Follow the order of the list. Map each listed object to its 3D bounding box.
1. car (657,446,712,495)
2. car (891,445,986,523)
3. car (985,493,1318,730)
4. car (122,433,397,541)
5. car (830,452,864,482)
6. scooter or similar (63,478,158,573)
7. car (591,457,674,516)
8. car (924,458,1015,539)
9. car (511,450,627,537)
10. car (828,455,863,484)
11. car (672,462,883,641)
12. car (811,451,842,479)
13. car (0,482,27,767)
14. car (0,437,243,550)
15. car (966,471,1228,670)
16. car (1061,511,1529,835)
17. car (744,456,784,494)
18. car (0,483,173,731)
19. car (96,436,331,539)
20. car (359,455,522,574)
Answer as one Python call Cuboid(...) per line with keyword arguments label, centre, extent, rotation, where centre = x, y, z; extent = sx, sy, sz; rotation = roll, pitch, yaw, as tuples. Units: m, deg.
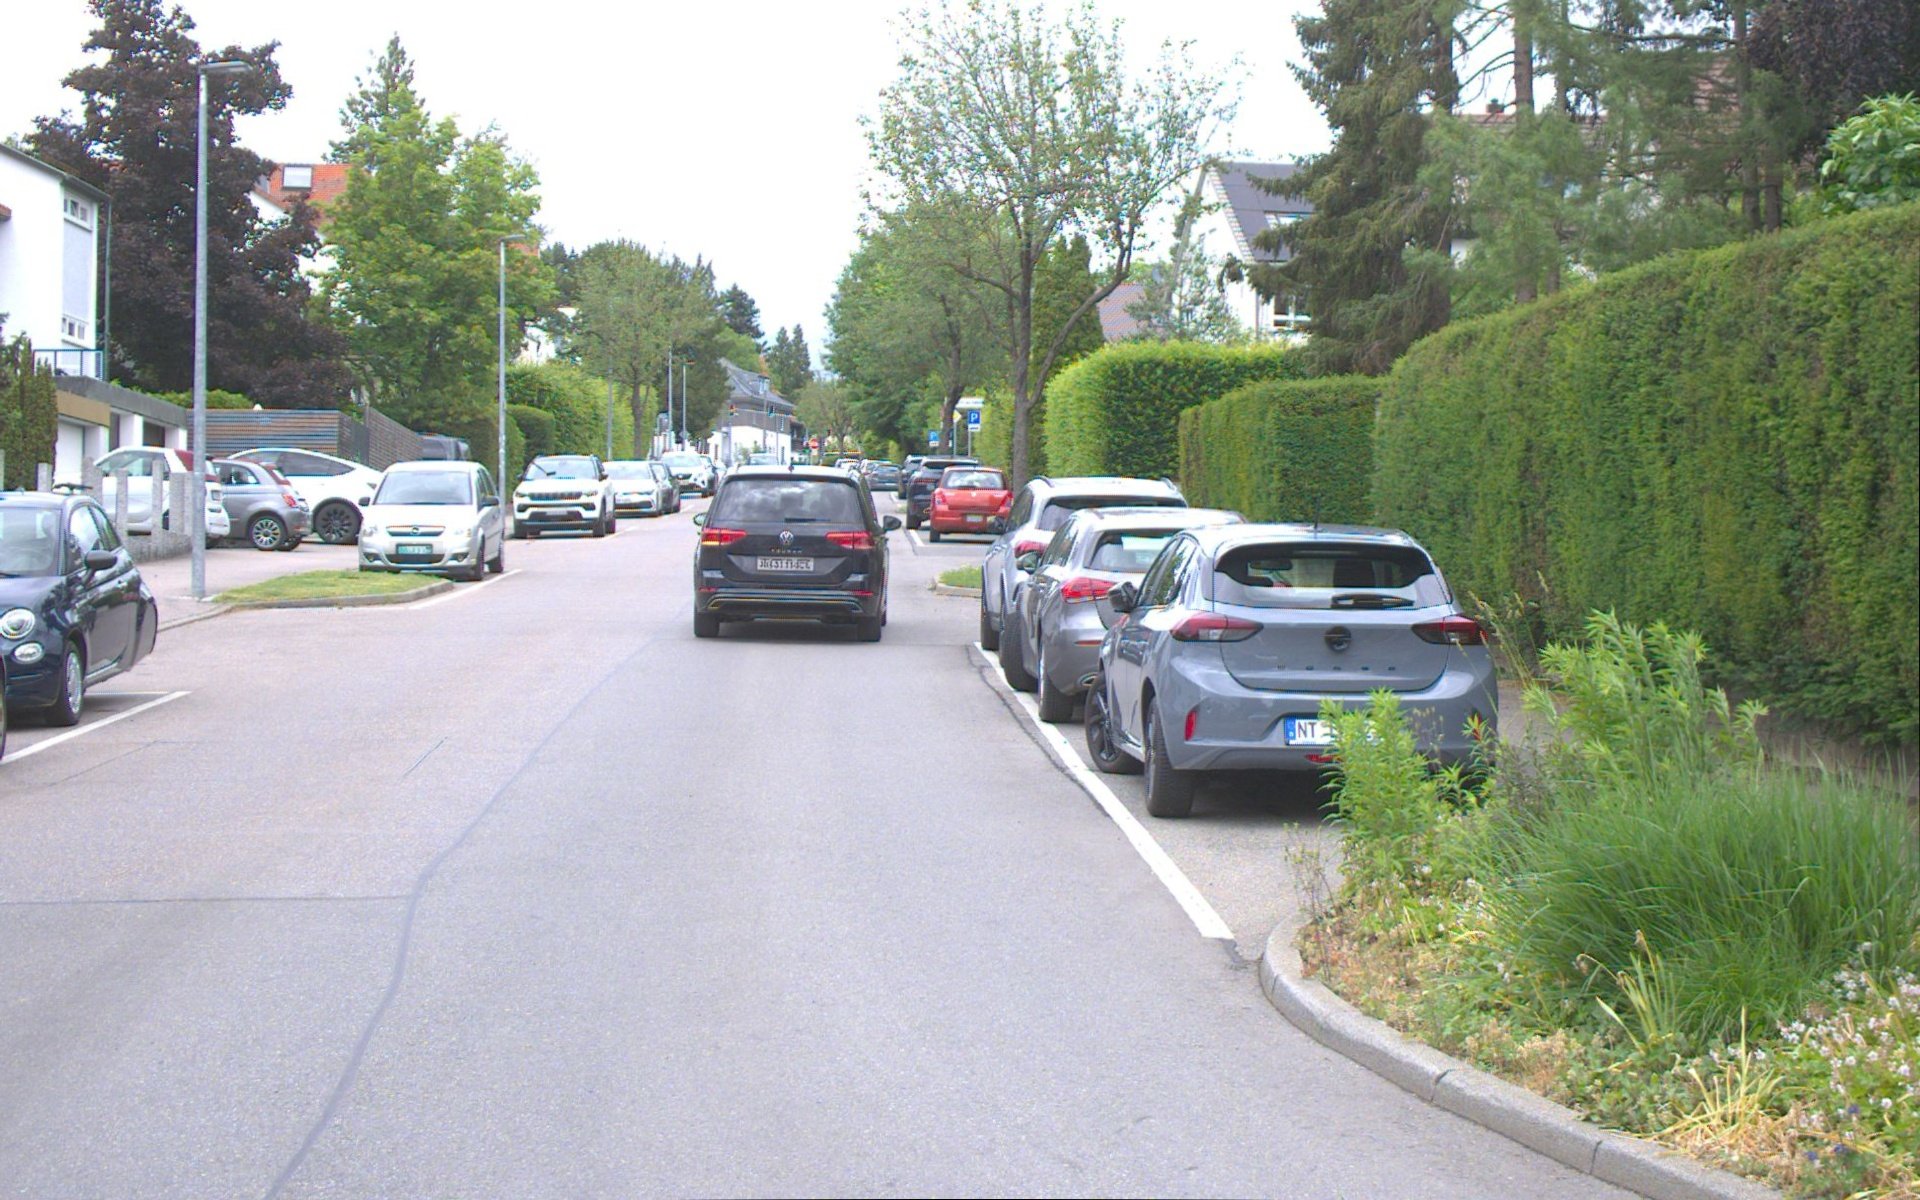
Cuboid(label="car", centre=(-8.994, -4.257, 112.563), extent=(1.722, 1.535, 4.001), rotation=(-1, 3, -4))
Cuboid(label="car", centre=(-0.504, -2.612, 77.032), extent=(1.993, 1.612, 4.514), rotation=(2, 2, -1))
Cuboid(label="car", centre=(1.249, 0.012, 24.233), extent=(1.855, 1.459, 4.173), rotation=(1, 2, -3))
Cuboid(label="car", centre=(-12.240, -1.982, 60.264), extent=(4.411, 1.623, 1.911), rotation=(3, 2, -2))
Cuboid(label="car", centre=(-6.391, -7.516, 194.373), extent=(1.664, 1.662, 3.468), rotation=(0, 3, -6))
Cuboid(label="scooter or similar", centre=(-10.583, -0.935, 42.862), extent=(0.474, 1.144, 1.454), rotation=(3, 3, 14))
Cuboid(label="car", centre=(-8.365, -2.918, 88.087), extent=(1.837, 1.417, 4.409), rotation=(-1, 3, -2))
Cuboid(label="car", centre=(0.159, -2.003, 67.223), extent=(1.661, 1.502, 3.759), rotation=(0, 3, -1))
Cuboid(label="car", centre=(-7.867, -2.186, 69.509), extent=(1.837, 1.660, 4.409), rotation=(-1, 3, -1))
Cuboid(label="car", centre=(-6.251, -7.135, 187.569), extent=(1.664, 1.495, 3.468), rotation=(0, 3, -6))
Cuboid(label="car", centre=(-1.713, -0.525, 33.461), extent=(1.847, 1.606, 4.312), rotation=(1, 2, -1))
Cuboid(label="car", centre=(-8.142, -8.258, 209.678), extent=(1.643, 1.662, 3.468), rotation=(0, 3, -6))
Cuboid(label="car", centre=(-6.248, 0.197, 17.744), extent=(1.877, 1.579, 3.872), rotation=(0, 2, -1))
Cuboid(label="car", centre=(-13.061, -1.651, 53.464), extent=(3.429, 1.572, 1.657), rotation=(3, 1, 0))
Cuboid(label="car", centre=(1.118, -0.313, 30.035), extent=(1.855, 1.576, 4.173), rotation=(1, 2, -3))
Cuboid(label="car", centre=(1.654, 0.300, 18.342), extent=(1.855, 1.459, 4.001), rotation=(1, 2, -3))
Cuboid(label="car", centre=(-9.791, -6.269, 171.667), extent=(1.885, 1.844, 4.402), rotation=(-1, 3, -2))
Cuboid(label="car", centre=(-6.657, -0.014, 23.339), extent=(1.877, 1.531, 3.508), rotation=(0, 2, -1))
Cuboid(label="car", centre=(-12.249, -1.847, 56.546), extent=(3.429, 1.507, 1.692), rotation=(3, 1, 0))
Cuboid(label="car", centre=(-7.161, -1.215, 47.672), extent=(1.760, 1.557, 3.856), rotation=(-1, 3, -2))
